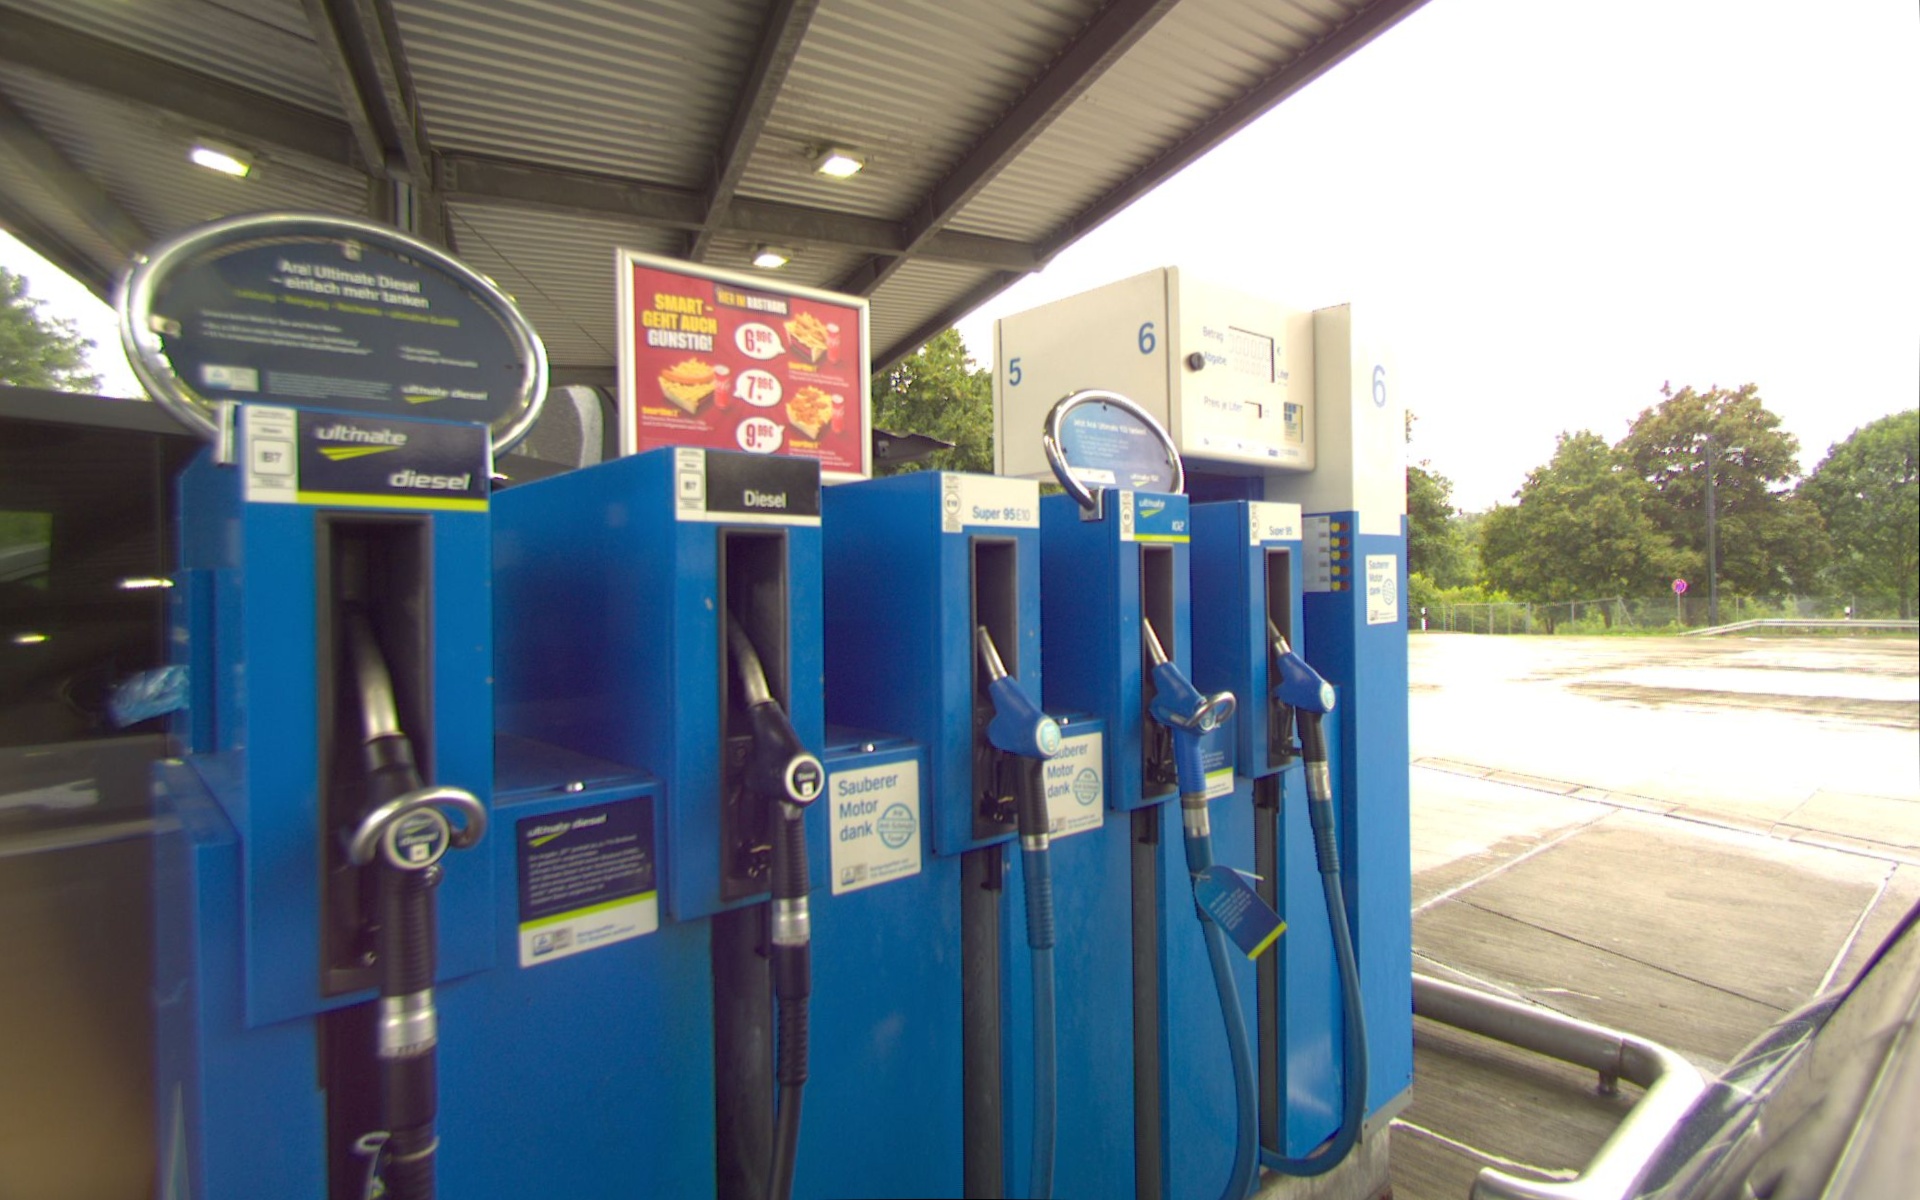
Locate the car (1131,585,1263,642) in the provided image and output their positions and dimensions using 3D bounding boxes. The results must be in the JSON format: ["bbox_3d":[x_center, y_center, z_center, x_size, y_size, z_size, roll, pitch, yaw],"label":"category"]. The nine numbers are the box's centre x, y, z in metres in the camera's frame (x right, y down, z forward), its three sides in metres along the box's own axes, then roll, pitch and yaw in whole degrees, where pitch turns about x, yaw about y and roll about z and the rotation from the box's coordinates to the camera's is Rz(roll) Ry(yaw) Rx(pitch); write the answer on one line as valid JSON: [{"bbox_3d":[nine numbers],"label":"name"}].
[{"bbox_3d":[7.441,0.386,31.922,3.941,1.680,1.593,1,0,14],"label":"car"}]

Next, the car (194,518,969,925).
[{"bbox_3d":[-2.221,0.518,6.705,4.460,1.821,1.864,-1,0,-41],"label":"car"}]

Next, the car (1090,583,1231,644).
[{"bbox_3d":[5.886,0.375,29.731,3.941,1.680,1.593,1,0,14],"label":"car"}]

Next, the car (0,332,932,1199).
[{"bbox_3d":[-2.585,0.502,1.819,5.050,1.821,1.864,-1,0,-41],"label":"car"}]

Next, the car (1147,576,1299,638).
[{"bbox_3d":[8.903,0.208,34.505,4.817,1.974,2.306,1,1,14],"label":"car"}]
